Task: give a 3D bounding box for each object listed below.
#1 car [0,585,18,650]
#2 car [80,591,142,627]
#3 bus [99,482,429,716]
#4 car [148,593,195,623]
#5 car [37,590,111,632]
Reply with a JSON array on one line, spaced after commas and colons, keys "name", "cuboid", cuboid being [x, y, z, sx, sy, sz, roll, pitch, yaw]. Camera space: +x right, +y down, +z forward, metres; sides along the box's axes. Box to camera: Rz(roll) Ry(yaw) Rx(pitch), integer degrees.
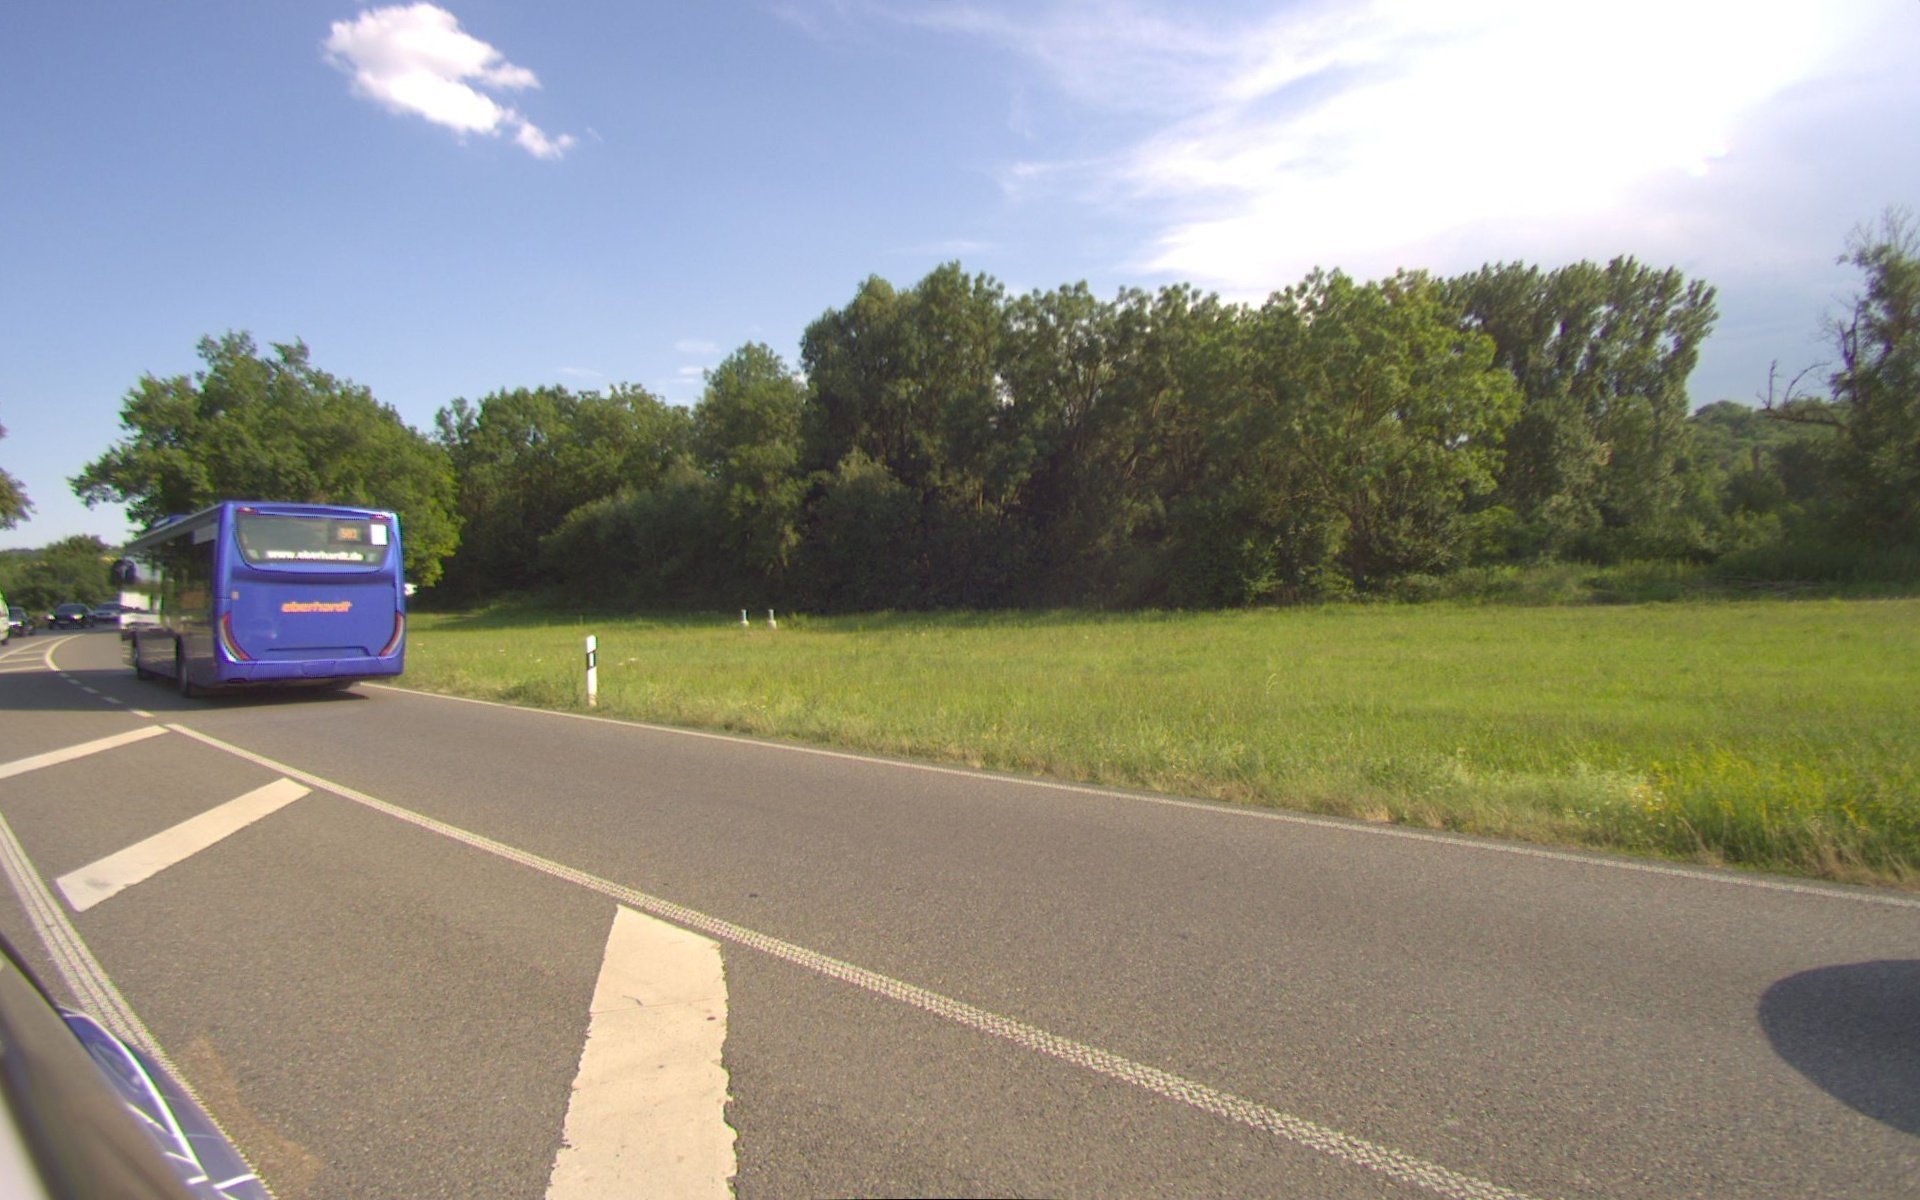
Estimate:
[{"name": "car", "cuboid": [-37.308, 0.658, 38.017, 2.055, 2.435, 5.155, -2, 1, -35]}, {"name": "car", "cuboid": [-60.644, 0.591, 72.388, 2.054, 2.435, 5.159, -2, 1, -25]}, {"name": "bus", "cuboid": [-13.655, -0.072, 19.102, 12.131, 3.205, 2.763, 0, 2, 44]}, {"name": "car", "cuboid": [-67.658, 0.644, 86.904, 2.054, 2.435, 5.159, -2, 1, -25]}, {"name": "car", "cuboid": [-54.588, 0.603, 62.452, 2.054, 2.435, 5.159, -2, 1, -25]}]
